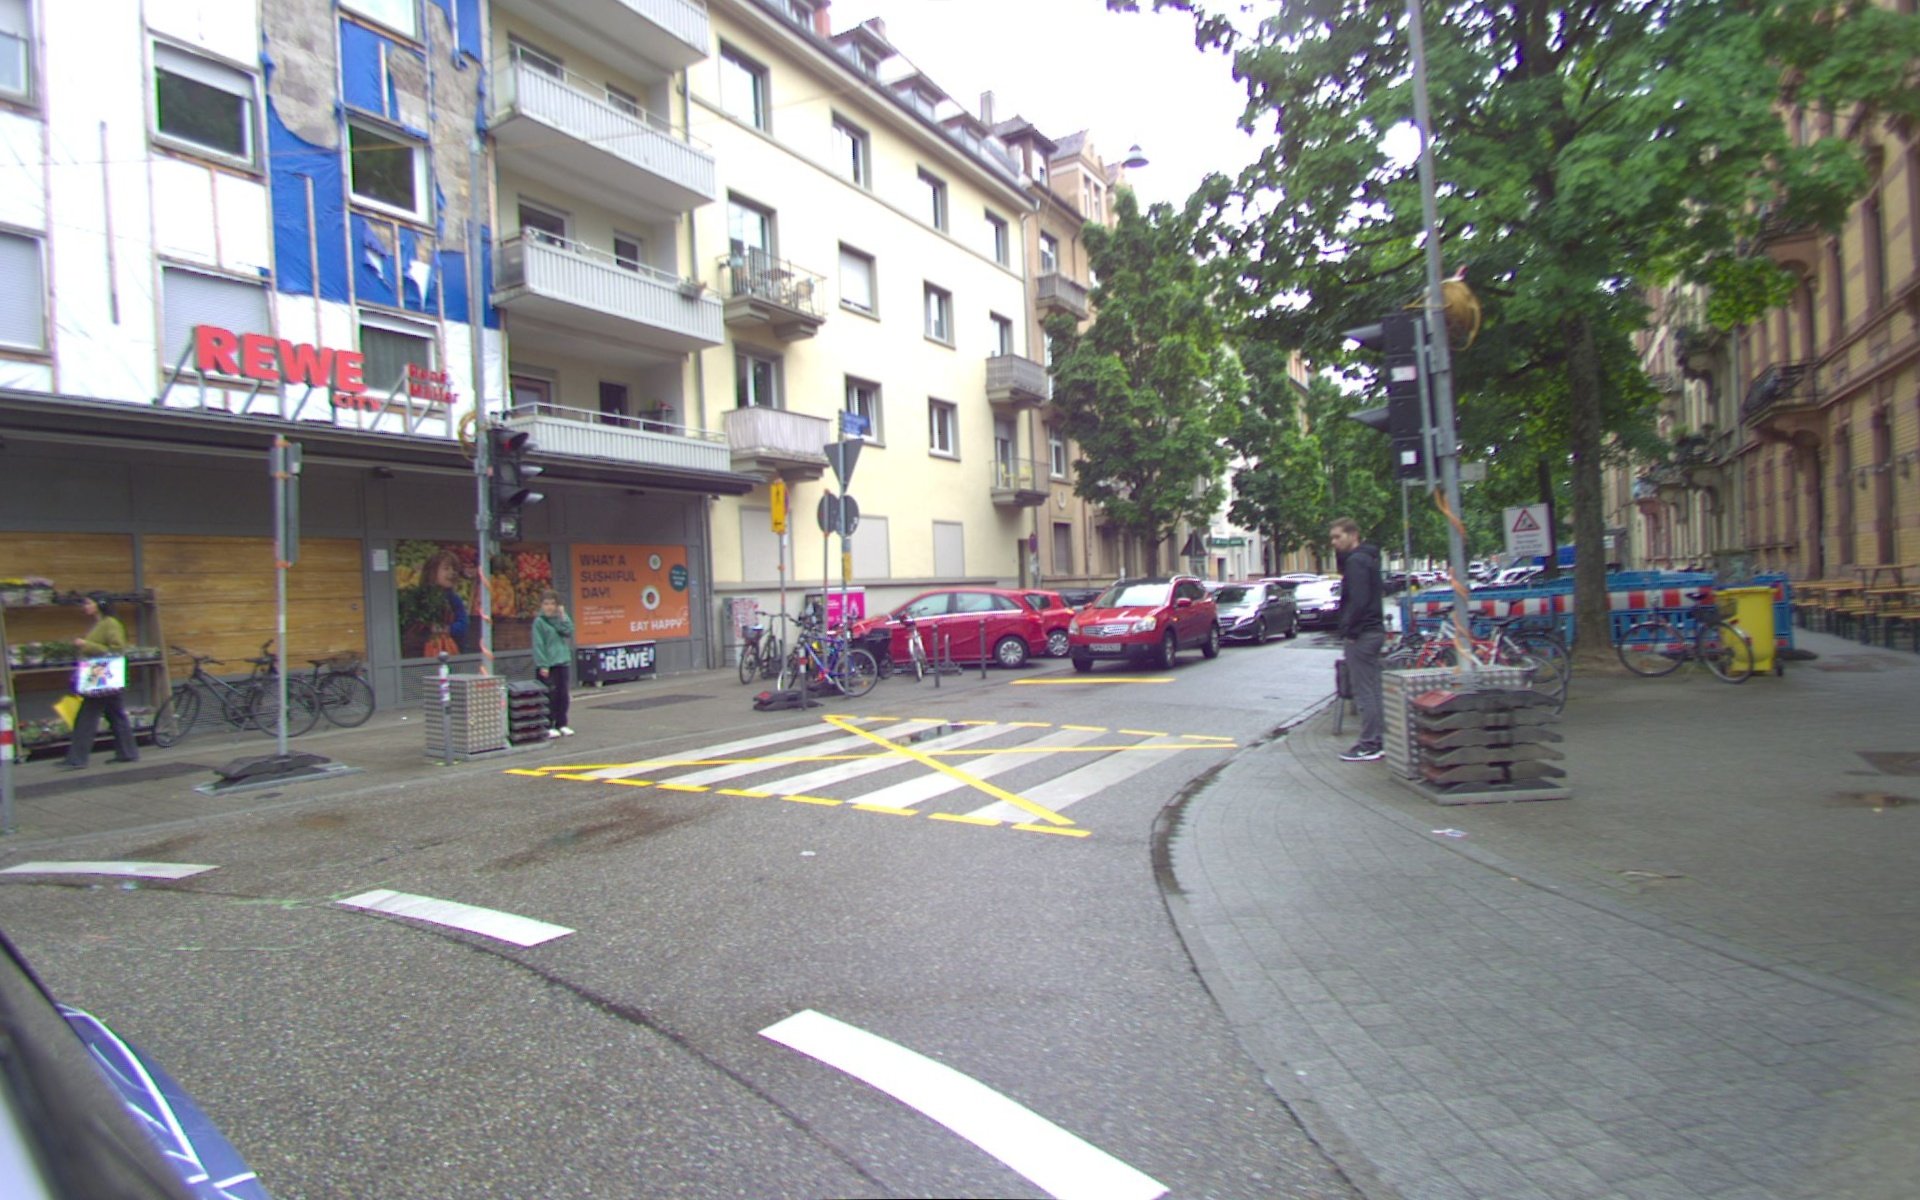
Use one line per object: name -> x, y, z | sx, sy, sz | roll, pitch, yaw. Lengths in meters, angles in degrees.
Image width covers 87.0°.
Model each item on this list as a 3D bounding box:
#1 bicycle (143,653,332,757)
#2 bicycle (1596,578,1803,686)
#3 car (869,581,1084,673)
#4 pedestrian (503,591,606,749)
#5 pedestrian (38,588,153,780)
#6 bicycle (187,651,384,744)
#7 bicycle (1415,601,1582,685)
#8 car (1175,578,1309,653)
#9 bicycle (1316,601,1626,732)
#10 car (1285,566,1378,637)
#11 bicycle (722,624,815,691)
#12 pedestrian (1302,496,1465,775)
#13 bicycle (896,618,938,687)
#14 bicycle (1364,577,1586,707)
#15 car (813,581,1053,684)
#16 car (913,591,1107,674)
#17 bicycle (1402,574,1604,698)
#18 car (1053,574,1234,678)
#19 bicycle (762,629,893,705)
bicycle -> -8.225, 1.173, 11.606 | 1.663, 0.978, 0.570 | -3, 0, -29
bicycle -> 8.461, 0.329, 11.754 | 0.733, 1.100, 2.409 | -3, 0, 4
car -> 0.349, 0.557, 22.089 | 4.397, 1.684, 2.000 | -3, 0, 1
pedestrian -> -4.420, 0.734, 11.046 | 0.604, 1.627, 0.789 | -2, 1, 41
pedestrian -> -8.566, 0.796, 10.029 | 0.864, 1.778, 0.685 | -1, 1, 41
bicycle -> -8.258, 1.170, 12.489 | 1.967, 0.978, 0.591 | -1, -1, -29
bicycle -> 6.698, 0.536, 12.648 | 1.722, 0.968, 0.581 | -3, 0, 42
car -> 6.838, 0.319, 24.223 | 1.837, 1.488, 4.339 | -4, 0, 32
bicycle -> 4.737, 0.619, 9.556 | 0.853, 1.052, 2.415 | -3, -2, -44
car -> 10.826, -0.018, 29.297 | 1.835, 1.810, 4.345 | -4, 0, 28
bicycle -> -3.271, 0.953, 17.493 | 0.585, 0.978, 1.987 | -1, 2, 22
pedestrian -> 3.353, 0.252, 7.997 | 0.864, 2.028, 0.932 | -3, 0, 41
bicycle -> -0.701, 0.851, 17.022 | 0.581, 0.978, 2.001 | -1, 2, 0
bicycle -> 5.561, 0.478, 11.045 | 0.581, 1.285, 2.005 | -2, -2, -43
car -> -0.502, 0.598, 19.850 | 4.397, 1.693, 2.000 | -3, 0, 1
car -> 1.159, 0.740, 24.404 | 4.397, 1.684, 2.000 | -3, 0, 1
bicycle -> 6.053, 0.428, 11.381 | 0.468, 1.285, 1.867 | -2, -2, -43
car -> 3.519, 0.420, 18.714 | 1.836, 1.652, 4.342 | -4, -1, 30
bicycle -> -1.938, 0.932, 14.610 | 1.997, 0.978, 0.582 | 0, 2, 35
